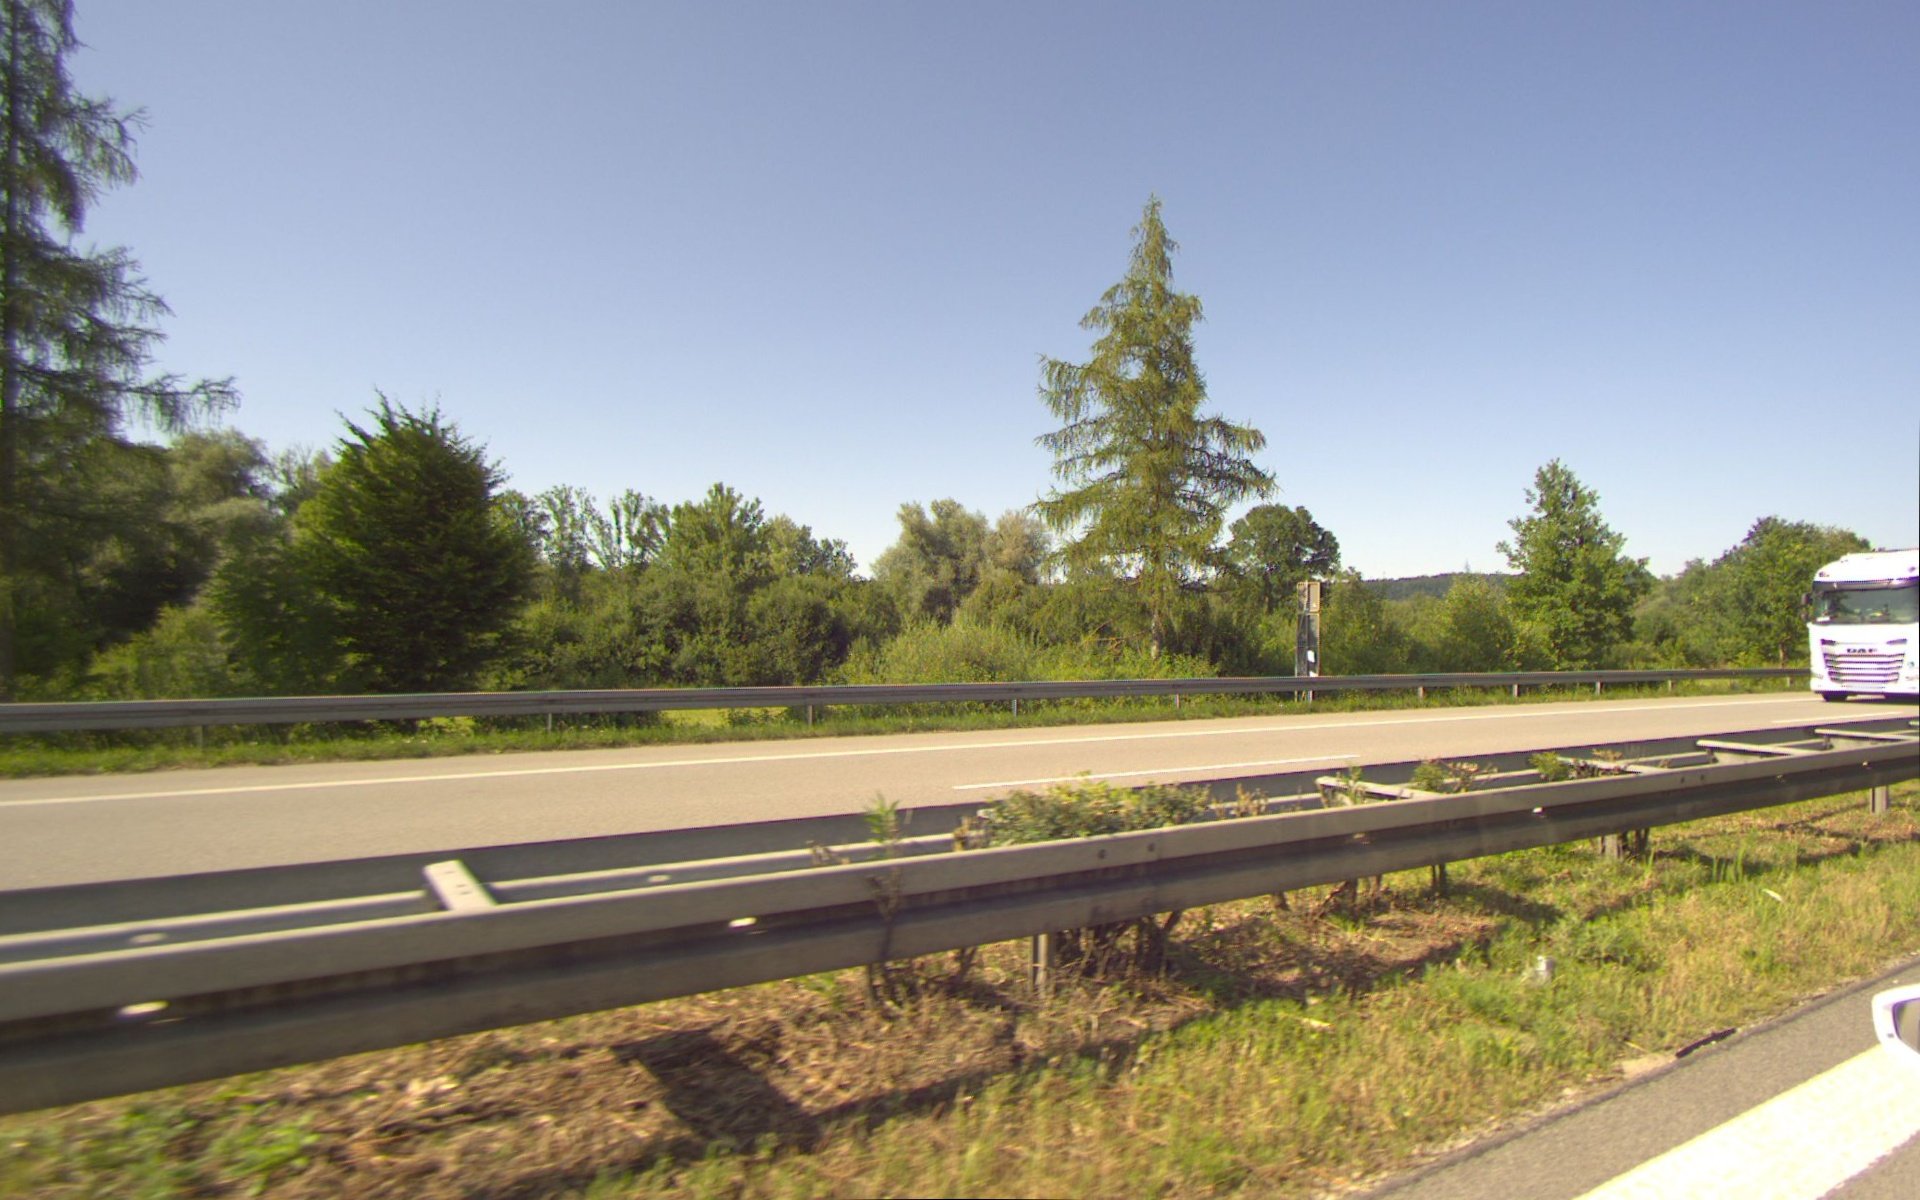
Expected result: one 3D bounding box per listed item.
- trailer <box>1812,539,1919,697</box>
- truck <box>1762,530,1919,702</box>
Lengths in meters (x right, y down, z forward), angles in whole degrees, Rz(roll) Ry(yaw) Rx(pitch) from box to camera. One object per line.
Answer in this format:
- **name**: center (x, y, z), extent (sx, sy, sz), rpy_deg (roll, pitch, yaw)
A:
- **trailer**: center (30.814, 0.636, 30.507), extent (13.282, 4.178, 3.137), rpy_deg (1, -3, -30)
- **truck**: center (25.635, 0.535, 27.455), extent (7.643, 4.154, 3.143), rpy_deg (1, -3, -30)
